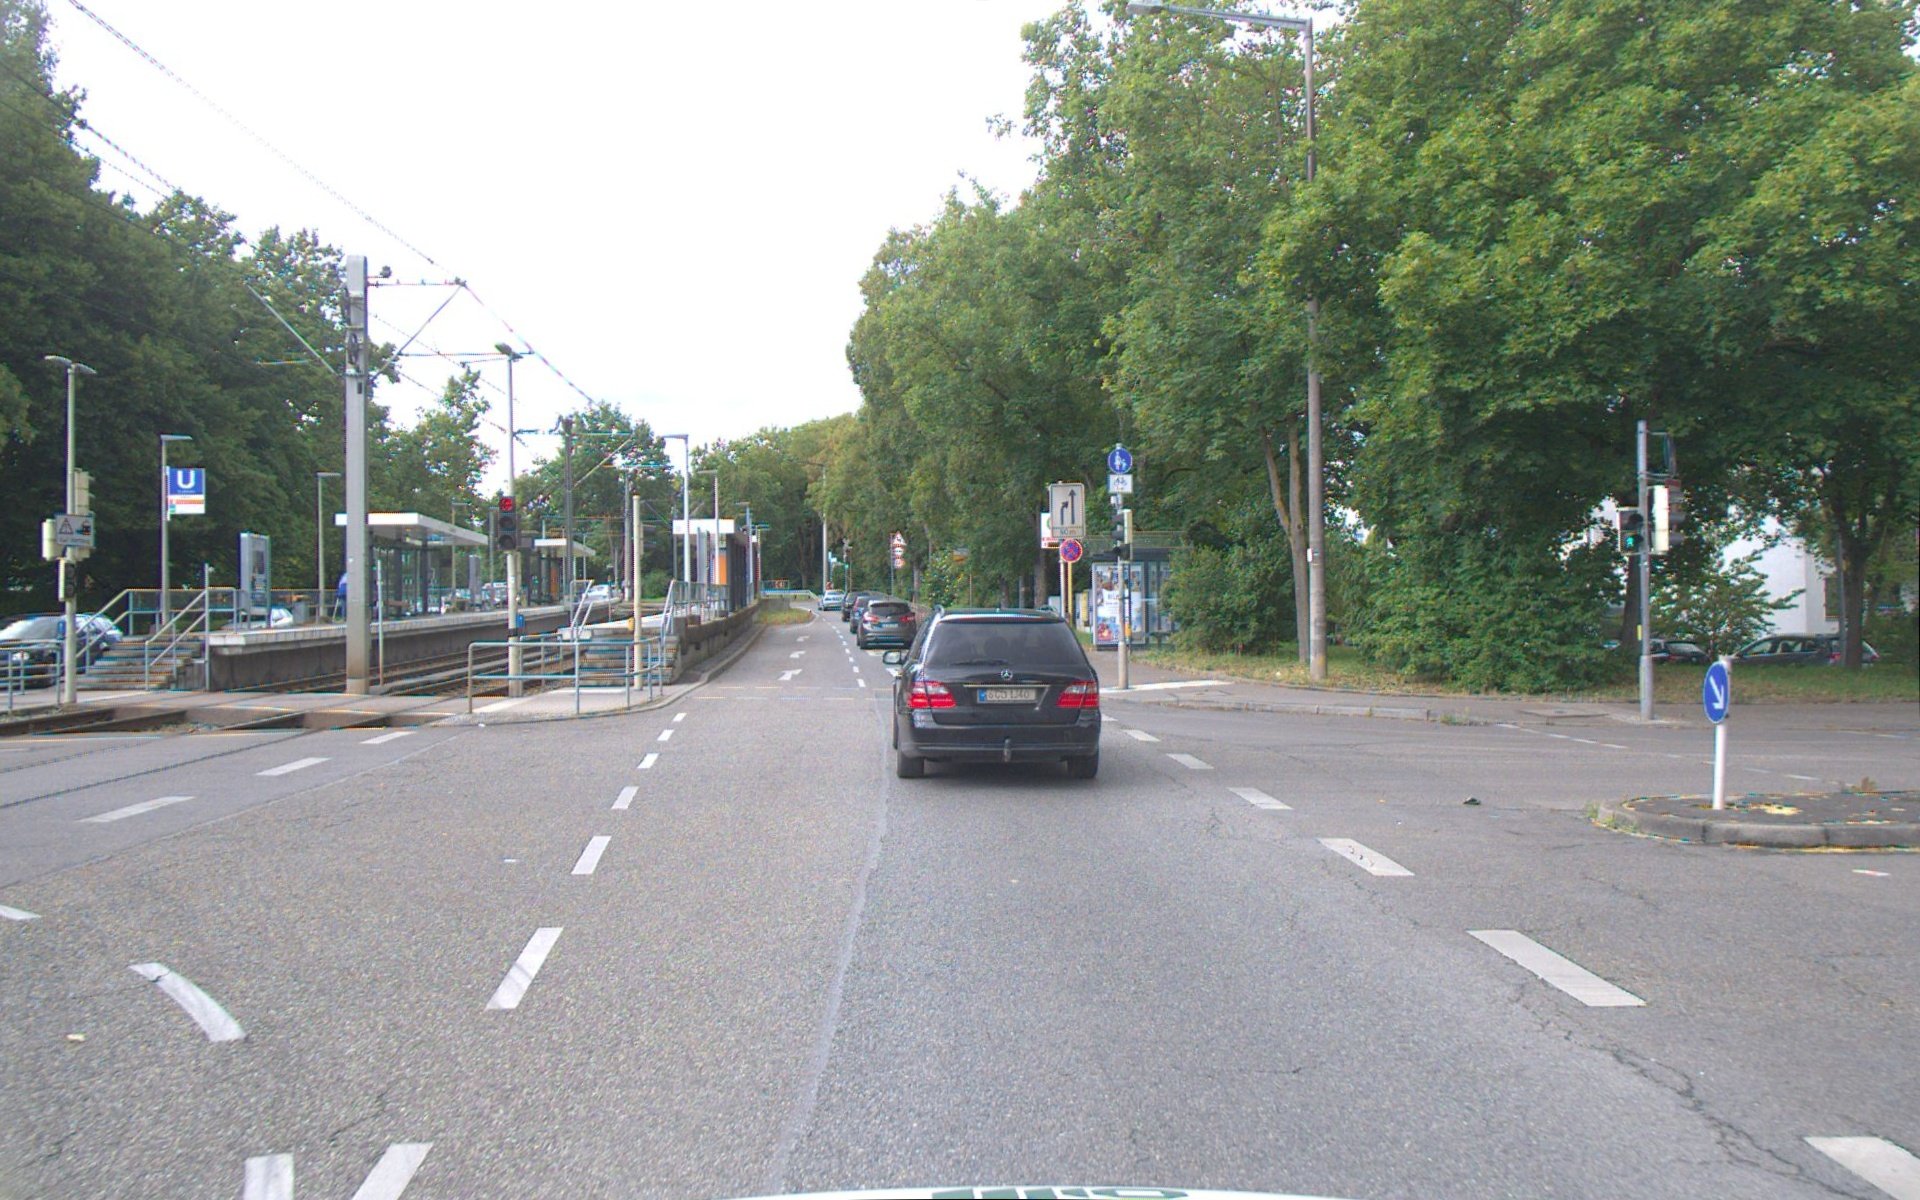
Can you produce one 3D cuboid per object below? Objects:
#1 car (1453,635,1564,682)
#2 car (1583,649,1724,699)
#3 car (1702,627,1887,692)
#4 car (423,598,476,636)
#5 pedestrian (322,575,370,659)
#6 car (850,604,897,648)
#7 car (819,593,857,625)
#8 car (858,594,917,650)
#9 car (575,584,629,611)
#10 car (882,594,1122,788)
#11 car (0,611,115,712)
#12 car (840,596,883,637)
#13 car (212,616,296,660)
[{"bbox_3d":[17.282,1.817,52.252,1.454,1.410,3.824,2,-2,-15],"label":"car"},{"bbox_3d":[19.274,2.039,46.114,1.595,1.268,3.841,2,-2,-16],"label":"car"},{"bbox_3d":[20.448,1.446,40.713,1.633,1.487,4.270,2,-2,-16],"label":"car"},{"bbox_3d":[-25.957,0.895,84.166,1.677,1.782,4.394,-2,-1,-5],"label":"car"},{"bbox_3d":[-16.415,0.451,44.262,0.950,2.224,0.975,0,-1,-4],"label":"pedestrian"},{"bbox_3d":[-3.518,1.077,66.684,1.747,1.677,3.995,1,-2,-5],"label":"car"},{"bbox_3d":[-7.723,0.583,104.170,1.957,1.926,3.990,2,-2,-10],"label":"car"},{"bbox_3d":[-2.272,0.717,52.120,1.746,1.677,3.997,1,-2,-3],"label":"car"},{"bbox_3d":[-28.948,-0.192,133.854,3.914,2.049,1.995,0,-2,31],"label":"car"},{"bbox_3d":[0.255,0.743,15.365,1.747,1.552,3.995,1,0,-5],"label":"car"},{"bbox_3d":[-18.641,1.190,33.130,1.664,1.893,3.994,1,-2,-6],"label":"car"},{"bbox_3d":[-5.000,0.852,83.514,1.955,1.952,3.994,1,-2,-6],"label":"car"},{"bbox_3d":[-25.614,1.370,60.139,1.653,1.471,3.994,-3,-1,-6],"label":"car"}]
